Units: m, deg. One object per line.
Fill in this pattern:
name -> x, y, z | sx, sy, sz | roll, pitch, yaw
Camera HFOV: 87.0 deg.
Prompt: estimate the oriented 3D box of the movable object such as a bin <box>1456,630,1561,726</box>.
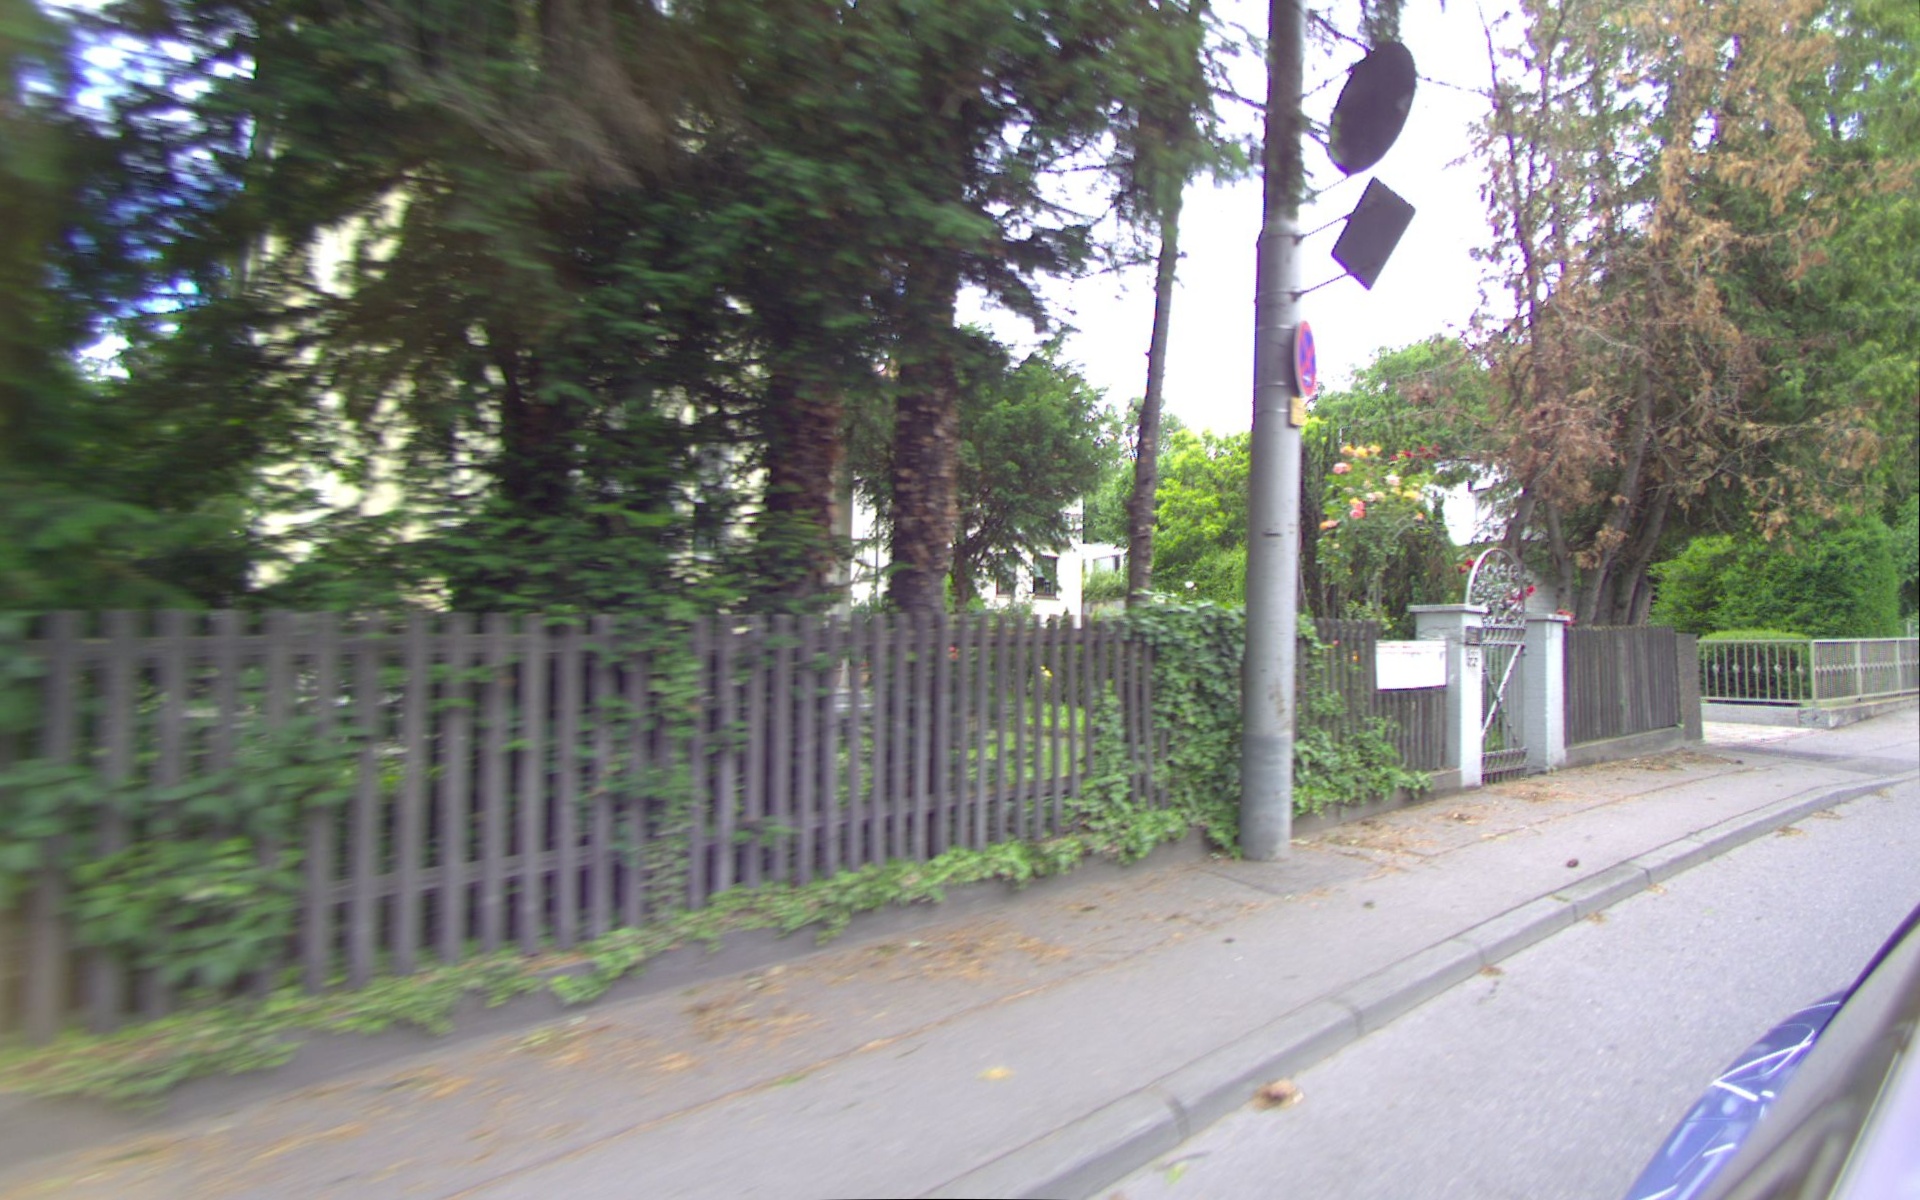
movable object such as a bin -> 6.443, 0.892, 11.903 | 0.767, 1.062, 0.781 | 1, -1, -27
